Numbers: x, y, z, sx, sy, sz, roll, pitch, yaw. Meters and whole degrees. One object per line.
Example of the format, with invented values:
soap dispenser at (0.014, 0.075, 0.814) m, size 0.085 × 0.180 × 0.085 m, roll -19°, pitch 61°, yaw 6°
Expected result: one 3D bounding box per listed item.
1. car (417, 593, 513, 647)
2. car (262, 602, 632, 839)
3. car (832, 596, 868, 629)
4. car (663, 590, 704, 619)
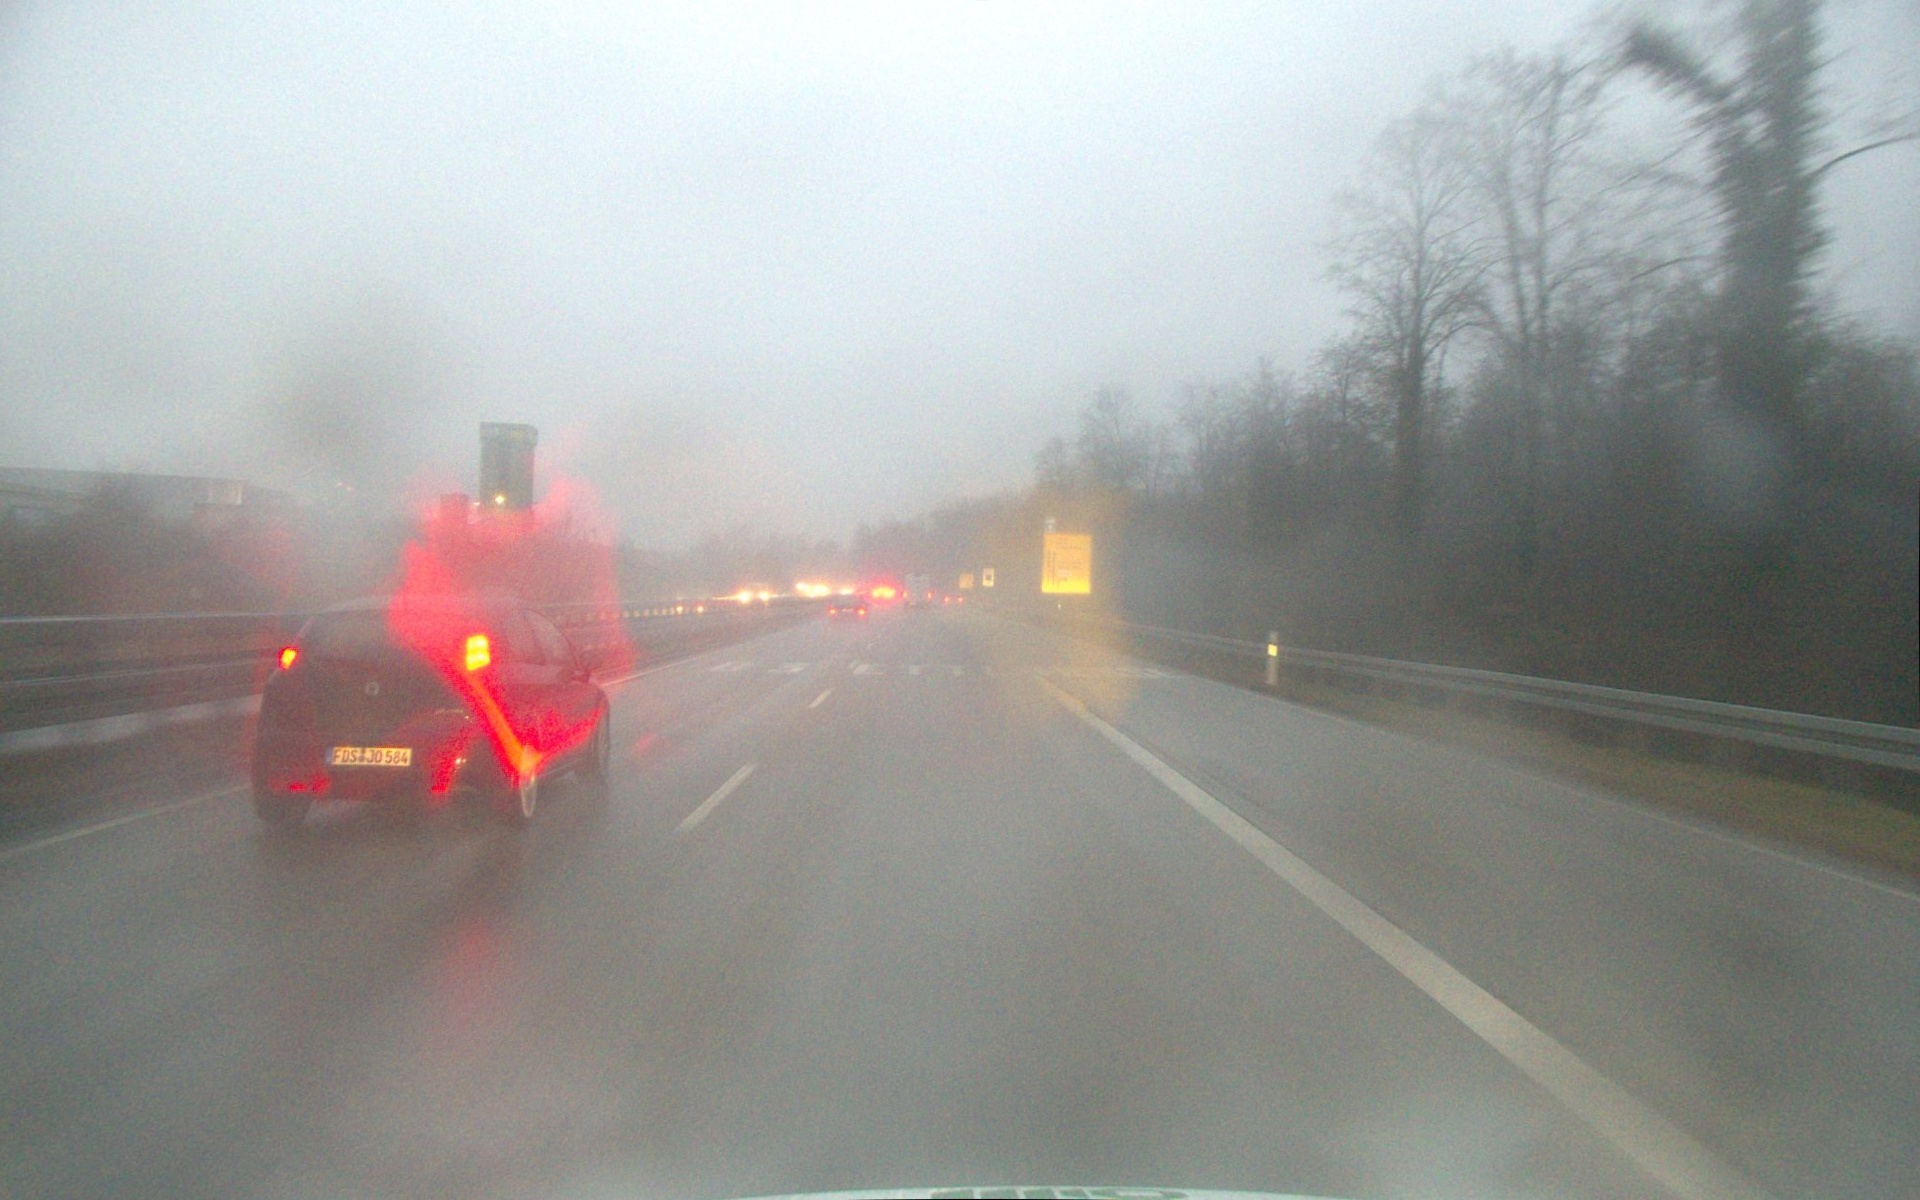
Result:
car at (-14.961, 0.576, 50.165) m, size 1.701 × 1.534 × 3.999 m, roll 2°, pitch 0°, yaw -1°
car at (-3.574, 0.753, 12.264) m, size 1.593 × 1.416 × 3.998 m, roll 2°, pitch 0°, yaw -3°
car at (-4.732, 0.530, 71.561) m, size 1.387 × 1.340 × 3.082 m, roll 2°, pitch 0°, yaw -2°
car at (-15.579, 0.245, 93.349) m, size 1.701 × 1.534 × 3.999 m, roll 2°, pitch 0°, yaw -1°
